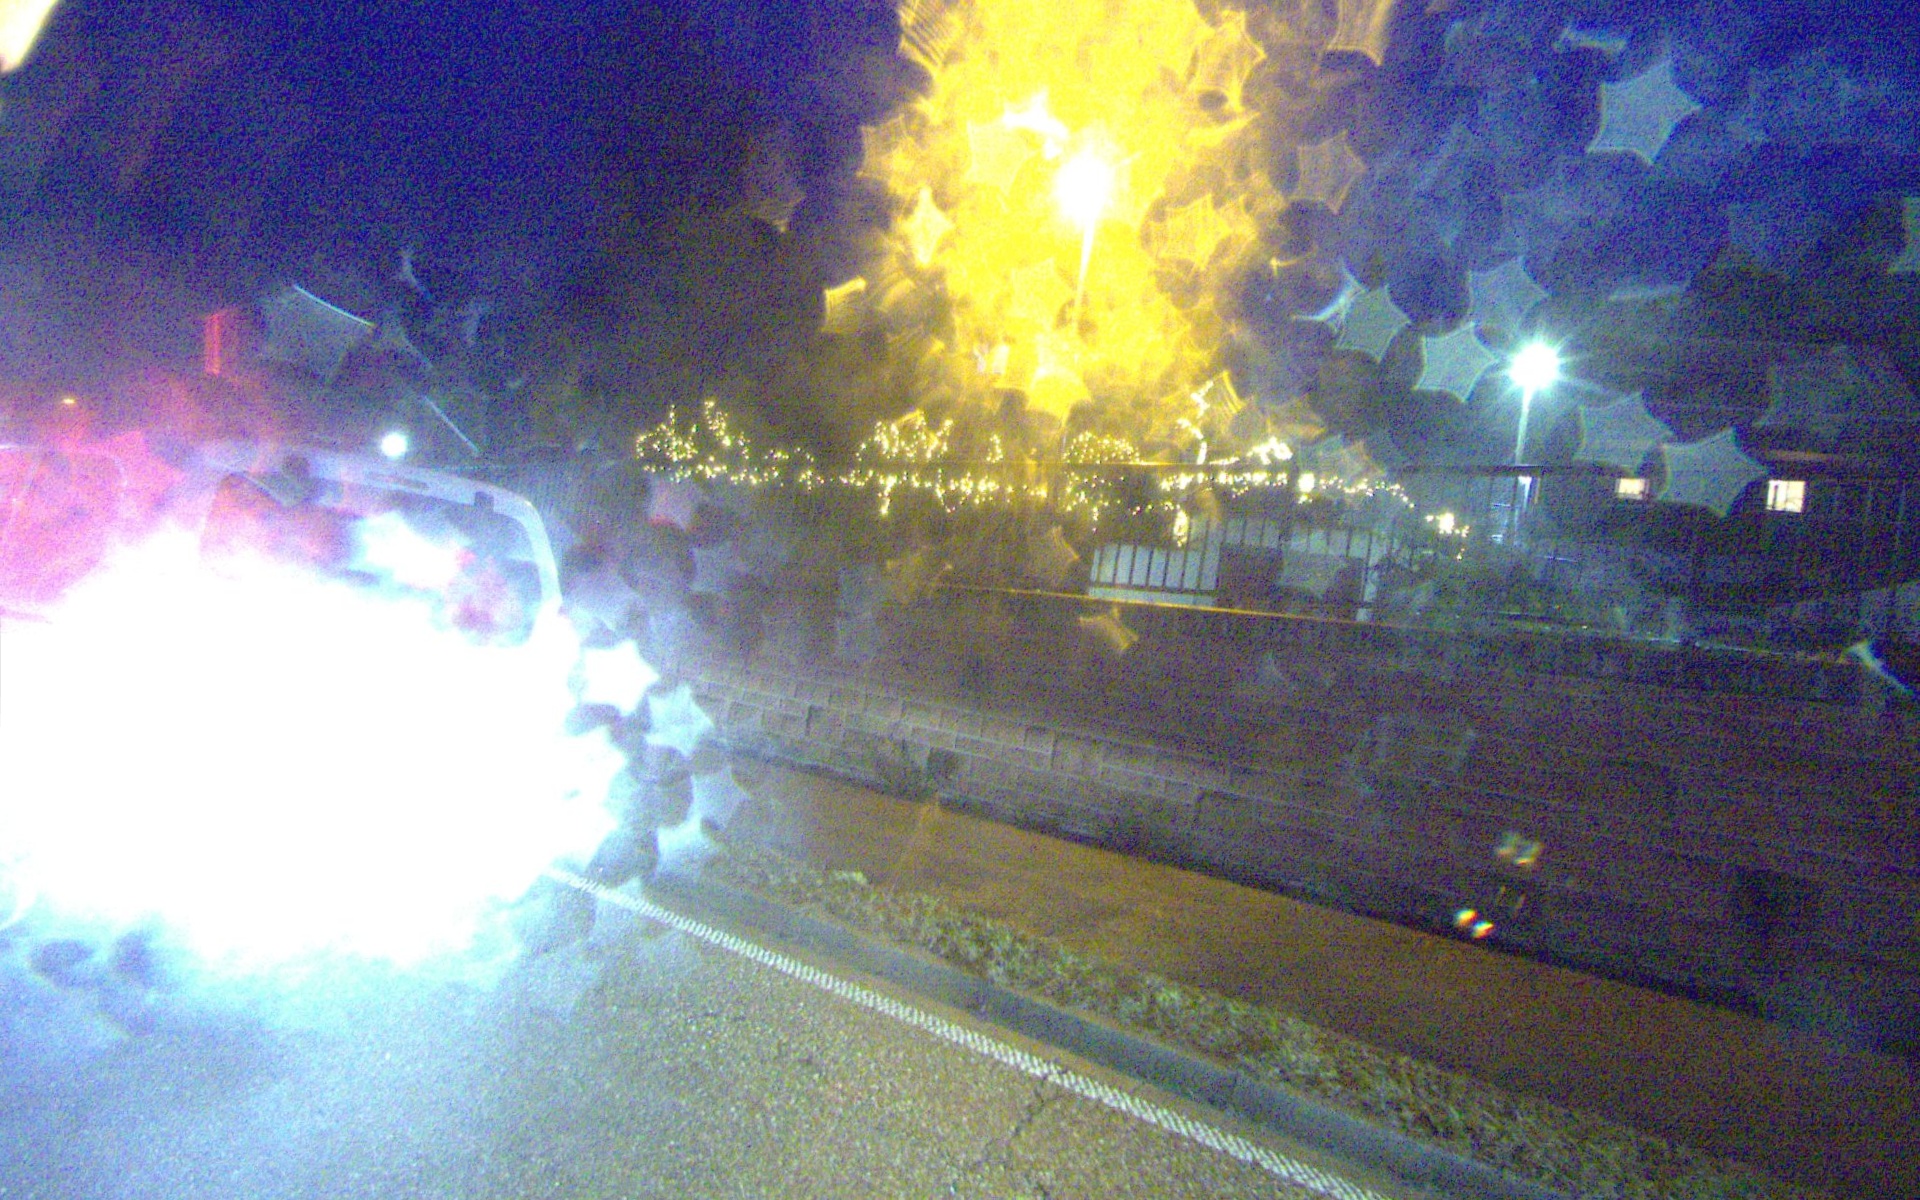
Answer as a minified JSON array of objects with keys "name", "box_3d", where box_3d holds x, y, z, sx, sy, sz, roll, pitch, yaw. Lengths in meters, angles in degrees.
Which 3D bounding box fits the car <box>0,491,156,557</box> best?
[{"name":"car","box_3d":[-28.653,-2.449,32.110,4.296,1.476,1.838,9,-2,-30]}]

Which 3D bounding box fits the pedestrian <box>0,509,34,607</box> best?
[{"name":"pedestrian","box_3d":[-17.462,-0.781,18.291,0.532,1.721,0.624,7,-1,29]}]

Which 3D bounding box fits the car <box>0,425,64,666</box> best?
[{"name":"car","box_3d":[-10.371,-0.717,9.253,3.934,2.070,1.973,6,-2,32]}]

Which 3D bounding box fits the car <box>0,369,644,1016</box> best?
[{"name":"car","box_3d":[-3.806,0.165,4.834,4.269,1.886,1.855,6,-2,32]}]
